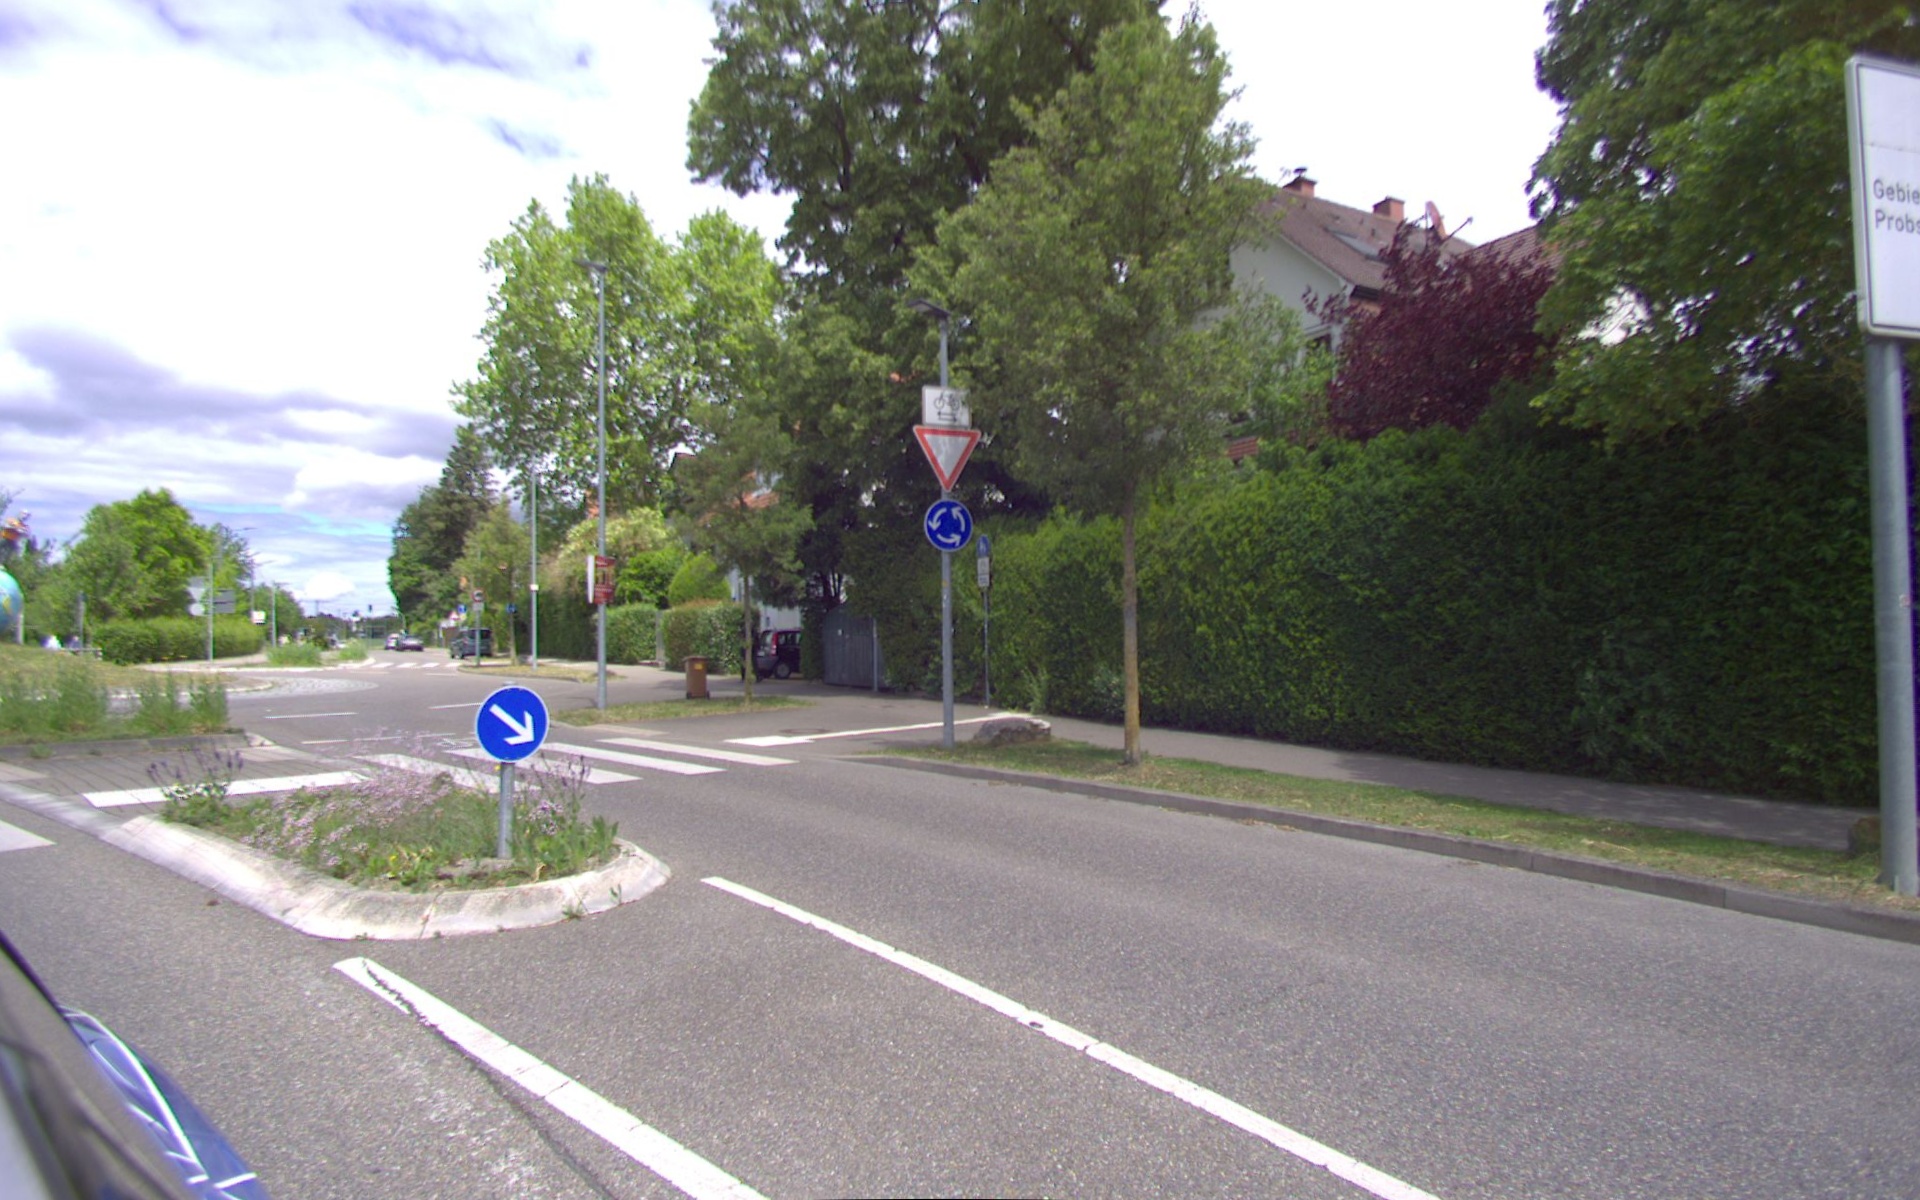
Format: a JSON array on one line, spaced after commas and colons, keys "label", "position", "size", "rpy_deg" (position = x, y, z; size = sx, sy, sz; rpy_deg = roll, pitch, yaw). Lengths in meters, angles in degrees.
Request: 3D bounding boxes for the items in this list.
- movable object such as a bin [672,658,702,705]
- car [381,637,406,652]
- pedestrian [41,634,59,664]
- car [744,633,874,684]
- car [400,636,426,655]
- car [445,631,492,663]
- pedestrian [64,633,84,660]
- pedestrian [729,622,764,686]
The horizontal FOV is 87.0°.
[{"label": "movable object such as a bin", "position": [-5.715, 1.698, 21.188], "size": [0.410, 0.942, 0.437], "rpy_deg": [-1, -3, 30]}, {"label": "car", "position": [-65.108, 5.082, 116.314], "size": [1.967, 1.719, 4.009], "rpy_deg": [2, -3, -36]}, {"label": "pedestrian", "position": [-52.076, 2.788, 57.926], "size": [0.565, 1.710, 0.601], "rpy_deg": [-2, -2, 33]}, {"label": "car", "position": [-4.586, 1.789, 30.825], "size": [3.518, 1.408, 1.670], "rpy_deg": [4, -3, -31]}, {"label": "car", "position": [-48.611, 4.022, 89.844], "size": [1.832, 1.589, 4.012], "rpy_deg": [0, -1, -31]}, {"label": "car", "position": [-27.605, 2.611, 56.776], "size": [1.654, 1.674, 4.009], "rpy_deg": [1, -2, -36]}, {"label": "pedestrian", "position": [-51.402, 2.694, 58.712], "size": [0.602, 1.569, 0.754], "rpy_deg": [-1, -3, 43]}, {"label": "pedestrian", "position": [-5.805, 1.452, 27.508], "size": [0.733, 1.704, 0.696], "rpy_deg": [0, -1, -30]}]
